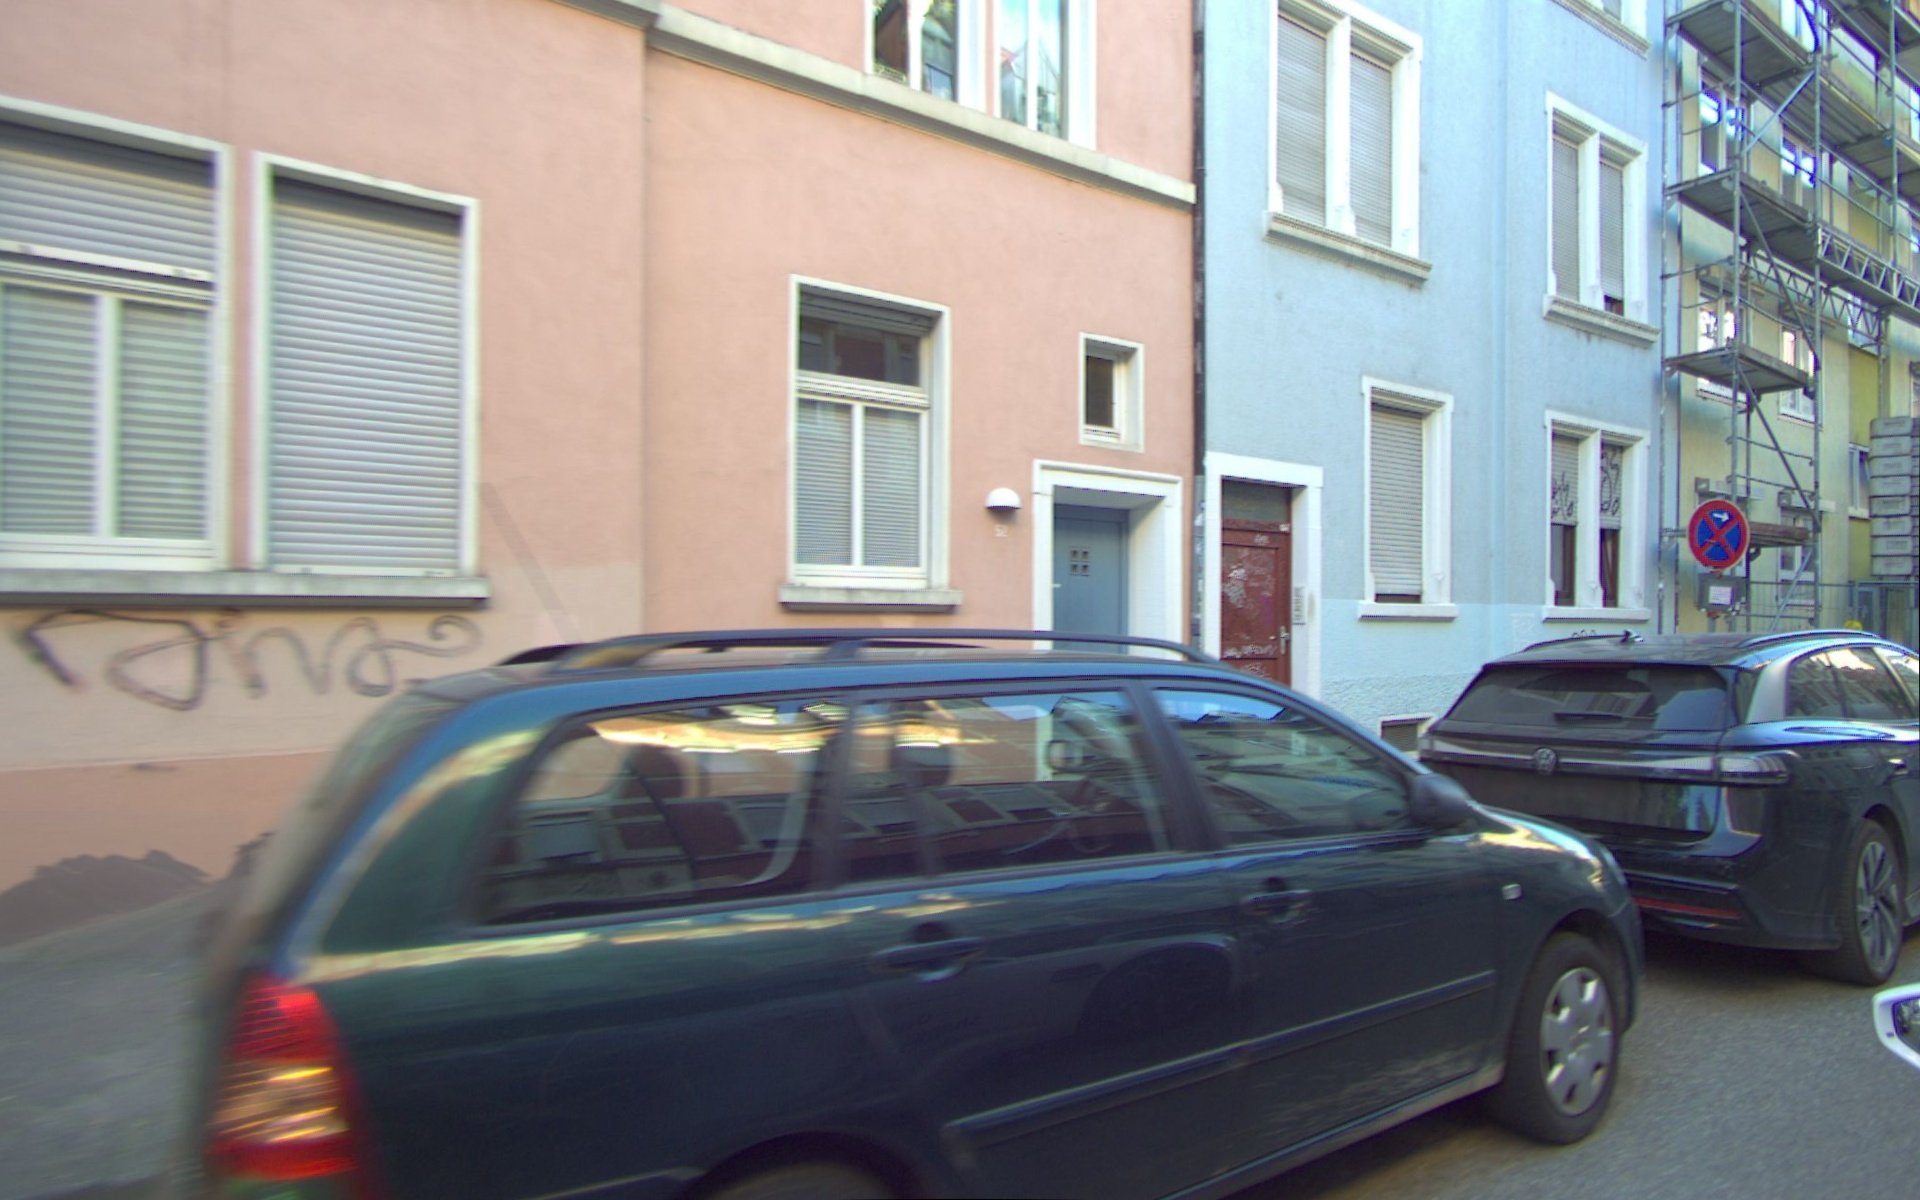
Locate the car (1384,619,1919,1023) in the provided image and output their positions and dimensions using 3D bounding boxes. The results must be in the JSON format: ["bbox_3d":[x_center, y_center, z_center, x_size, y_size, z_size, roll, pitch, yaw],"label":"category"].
[{"bbox_3d":[4.526,0.874,5.687,4.558,1.496,1.665,1,-2,-33],"label":"car"}]

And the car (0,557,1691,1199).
[{"bbox_3d":[0.267,0.779,3.003,4.367,1.531,1.665,1,-2,-33],"label":"car"}]
